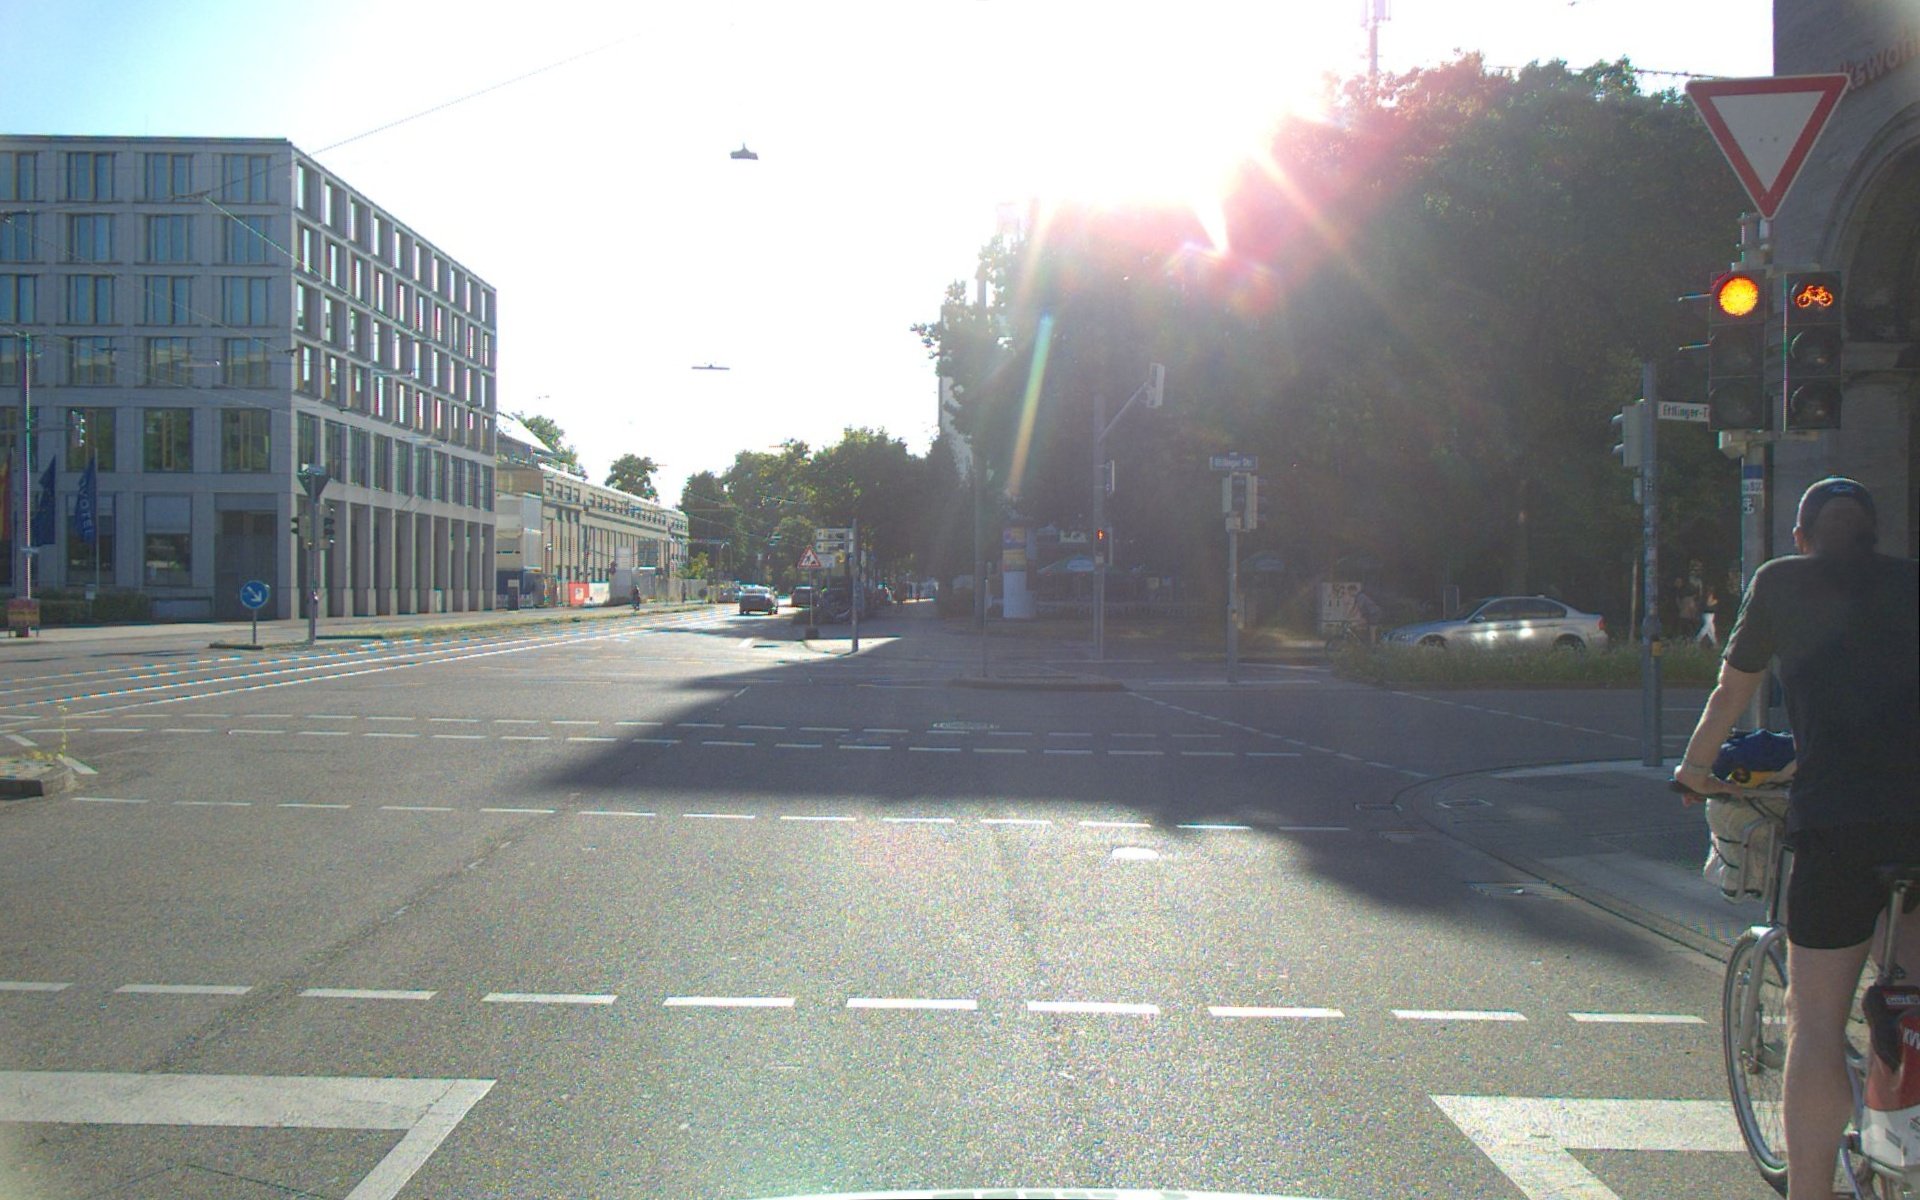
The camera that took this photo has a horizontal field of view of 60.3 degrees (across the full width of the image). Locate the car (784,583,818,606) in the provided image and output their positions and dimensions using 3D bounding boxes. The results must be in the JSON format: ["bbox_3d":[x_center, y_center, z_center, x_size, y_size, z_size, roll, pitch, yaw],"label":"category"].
[{"bbox_3d":[-11.905,-0.400,123.798,1.853,1.592,4.809,3,1,2],"label":"car"}]

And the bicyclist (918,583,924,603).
[{"bbox_3d":[-3.492,-0.607,147.312,0.558,1.721,0.699,0,0,-1],"label":"bicyclist"}]

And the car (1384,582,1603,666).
[{"bbox_3d":[10.775,0.479,33.579,3.912,1.639,1.650,0,0,-1],"label":"car"}]

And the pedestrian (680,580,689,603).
[{"bbox_3d":[-25.095,-0.773,150.652,0.660,2.049,0.751,1,-1,-3],"label":"pedestrian"}]

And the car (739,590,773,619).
[{"bbox_3d":[-11.079,0.239,89.929,1.627,1.481,4.428,1,0,-5],"label":"car"}]

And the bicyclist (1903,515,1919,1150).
[{"bbox_3d":[2.891,0.633,4.247,0.546,1.721,0.640,1,0,-2],"label":"bicyclist"}]

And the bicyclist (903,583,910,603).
[{"bbox_3d":[-4.775,-0.619,147.184,0.558,1.721,0.699,0,0,-1],"label":"bicyclist"}]

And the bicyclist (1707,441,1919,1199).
[{"bbox_3d":[2.097,0.583,3.748,0.547,1.830,0.550,1,0,1],"label":"bicyclist"}]

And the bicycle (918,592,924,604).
[{"bbox_3d":[-3.479,-0.186,147.283,0.563,1.096,1.830,0,0,-1],"label":"bicycle"}]

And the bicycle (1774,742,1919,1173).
[{"bbox_3d":[2.866,1.005,4.354,0.523,1.096,1.750,1,0,-2],"label":"bicycle"}]

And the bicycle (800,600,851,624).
[{"bbox_3d":[-5.488,0.506,67.399,1.976,0.907,0.650,-2,-1,27],"label":"bicycle"}]

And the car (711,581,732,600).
[{"bbox_3d":[-22.484,-0.907,156.126,1.659,1.748,4.244,1,0,-4],"label":"car"}]

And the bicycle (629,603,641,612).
[{"bbox_3d":[-19.390,0.434,98.681,0.491,0.524,1.257,1,0,-2],"label":"bicycle"}]

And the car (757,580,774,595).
[{"bbox_3d":[-22.846,-1.448,194.375,1.659,1.748,4.244,1,0,-4],"label":"car"}]

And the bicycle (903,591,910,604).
[{"bbox_3d":[-4.769,-0.209,147.154,0.563,1.096,1.830,0,0,-1],"label":"bicycle"}]

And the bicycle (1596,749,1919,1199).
[{"bbox_3d":[2.079,0.986,3.906,0.505,1.096,1.728,1,0,1],"label":"bicycle"}]

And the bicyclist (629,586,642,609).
[{"bbox_3d":[-19.361,-0.146,98.683,0.584,1.401,0.637,1,-1,-2],"label":"bicyclist"}]

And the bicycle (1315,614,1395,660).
[{"bbox_3d":[8.639,0.808,36.208,1.631,0.980,0.534,0,0,5],"label":"bicycle"}]

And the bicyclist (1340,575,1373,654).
[{"bbox_3d":[8.684,0.322,36.215,0.630,1.712,0.507,0,0,5],"label":"bicyclist"}]

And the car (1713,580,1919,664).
[{"bbox_3d":[17.537,0.423,33.569,3.770,1.639,1.650,0,0,-1],"label":"car"}]

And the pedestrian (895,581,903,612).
[{"bbox_3d":[-3.601,-0.198,97.629,0.454,1.845,0.502,0,0,-5],"label":"pedestrian"}]
